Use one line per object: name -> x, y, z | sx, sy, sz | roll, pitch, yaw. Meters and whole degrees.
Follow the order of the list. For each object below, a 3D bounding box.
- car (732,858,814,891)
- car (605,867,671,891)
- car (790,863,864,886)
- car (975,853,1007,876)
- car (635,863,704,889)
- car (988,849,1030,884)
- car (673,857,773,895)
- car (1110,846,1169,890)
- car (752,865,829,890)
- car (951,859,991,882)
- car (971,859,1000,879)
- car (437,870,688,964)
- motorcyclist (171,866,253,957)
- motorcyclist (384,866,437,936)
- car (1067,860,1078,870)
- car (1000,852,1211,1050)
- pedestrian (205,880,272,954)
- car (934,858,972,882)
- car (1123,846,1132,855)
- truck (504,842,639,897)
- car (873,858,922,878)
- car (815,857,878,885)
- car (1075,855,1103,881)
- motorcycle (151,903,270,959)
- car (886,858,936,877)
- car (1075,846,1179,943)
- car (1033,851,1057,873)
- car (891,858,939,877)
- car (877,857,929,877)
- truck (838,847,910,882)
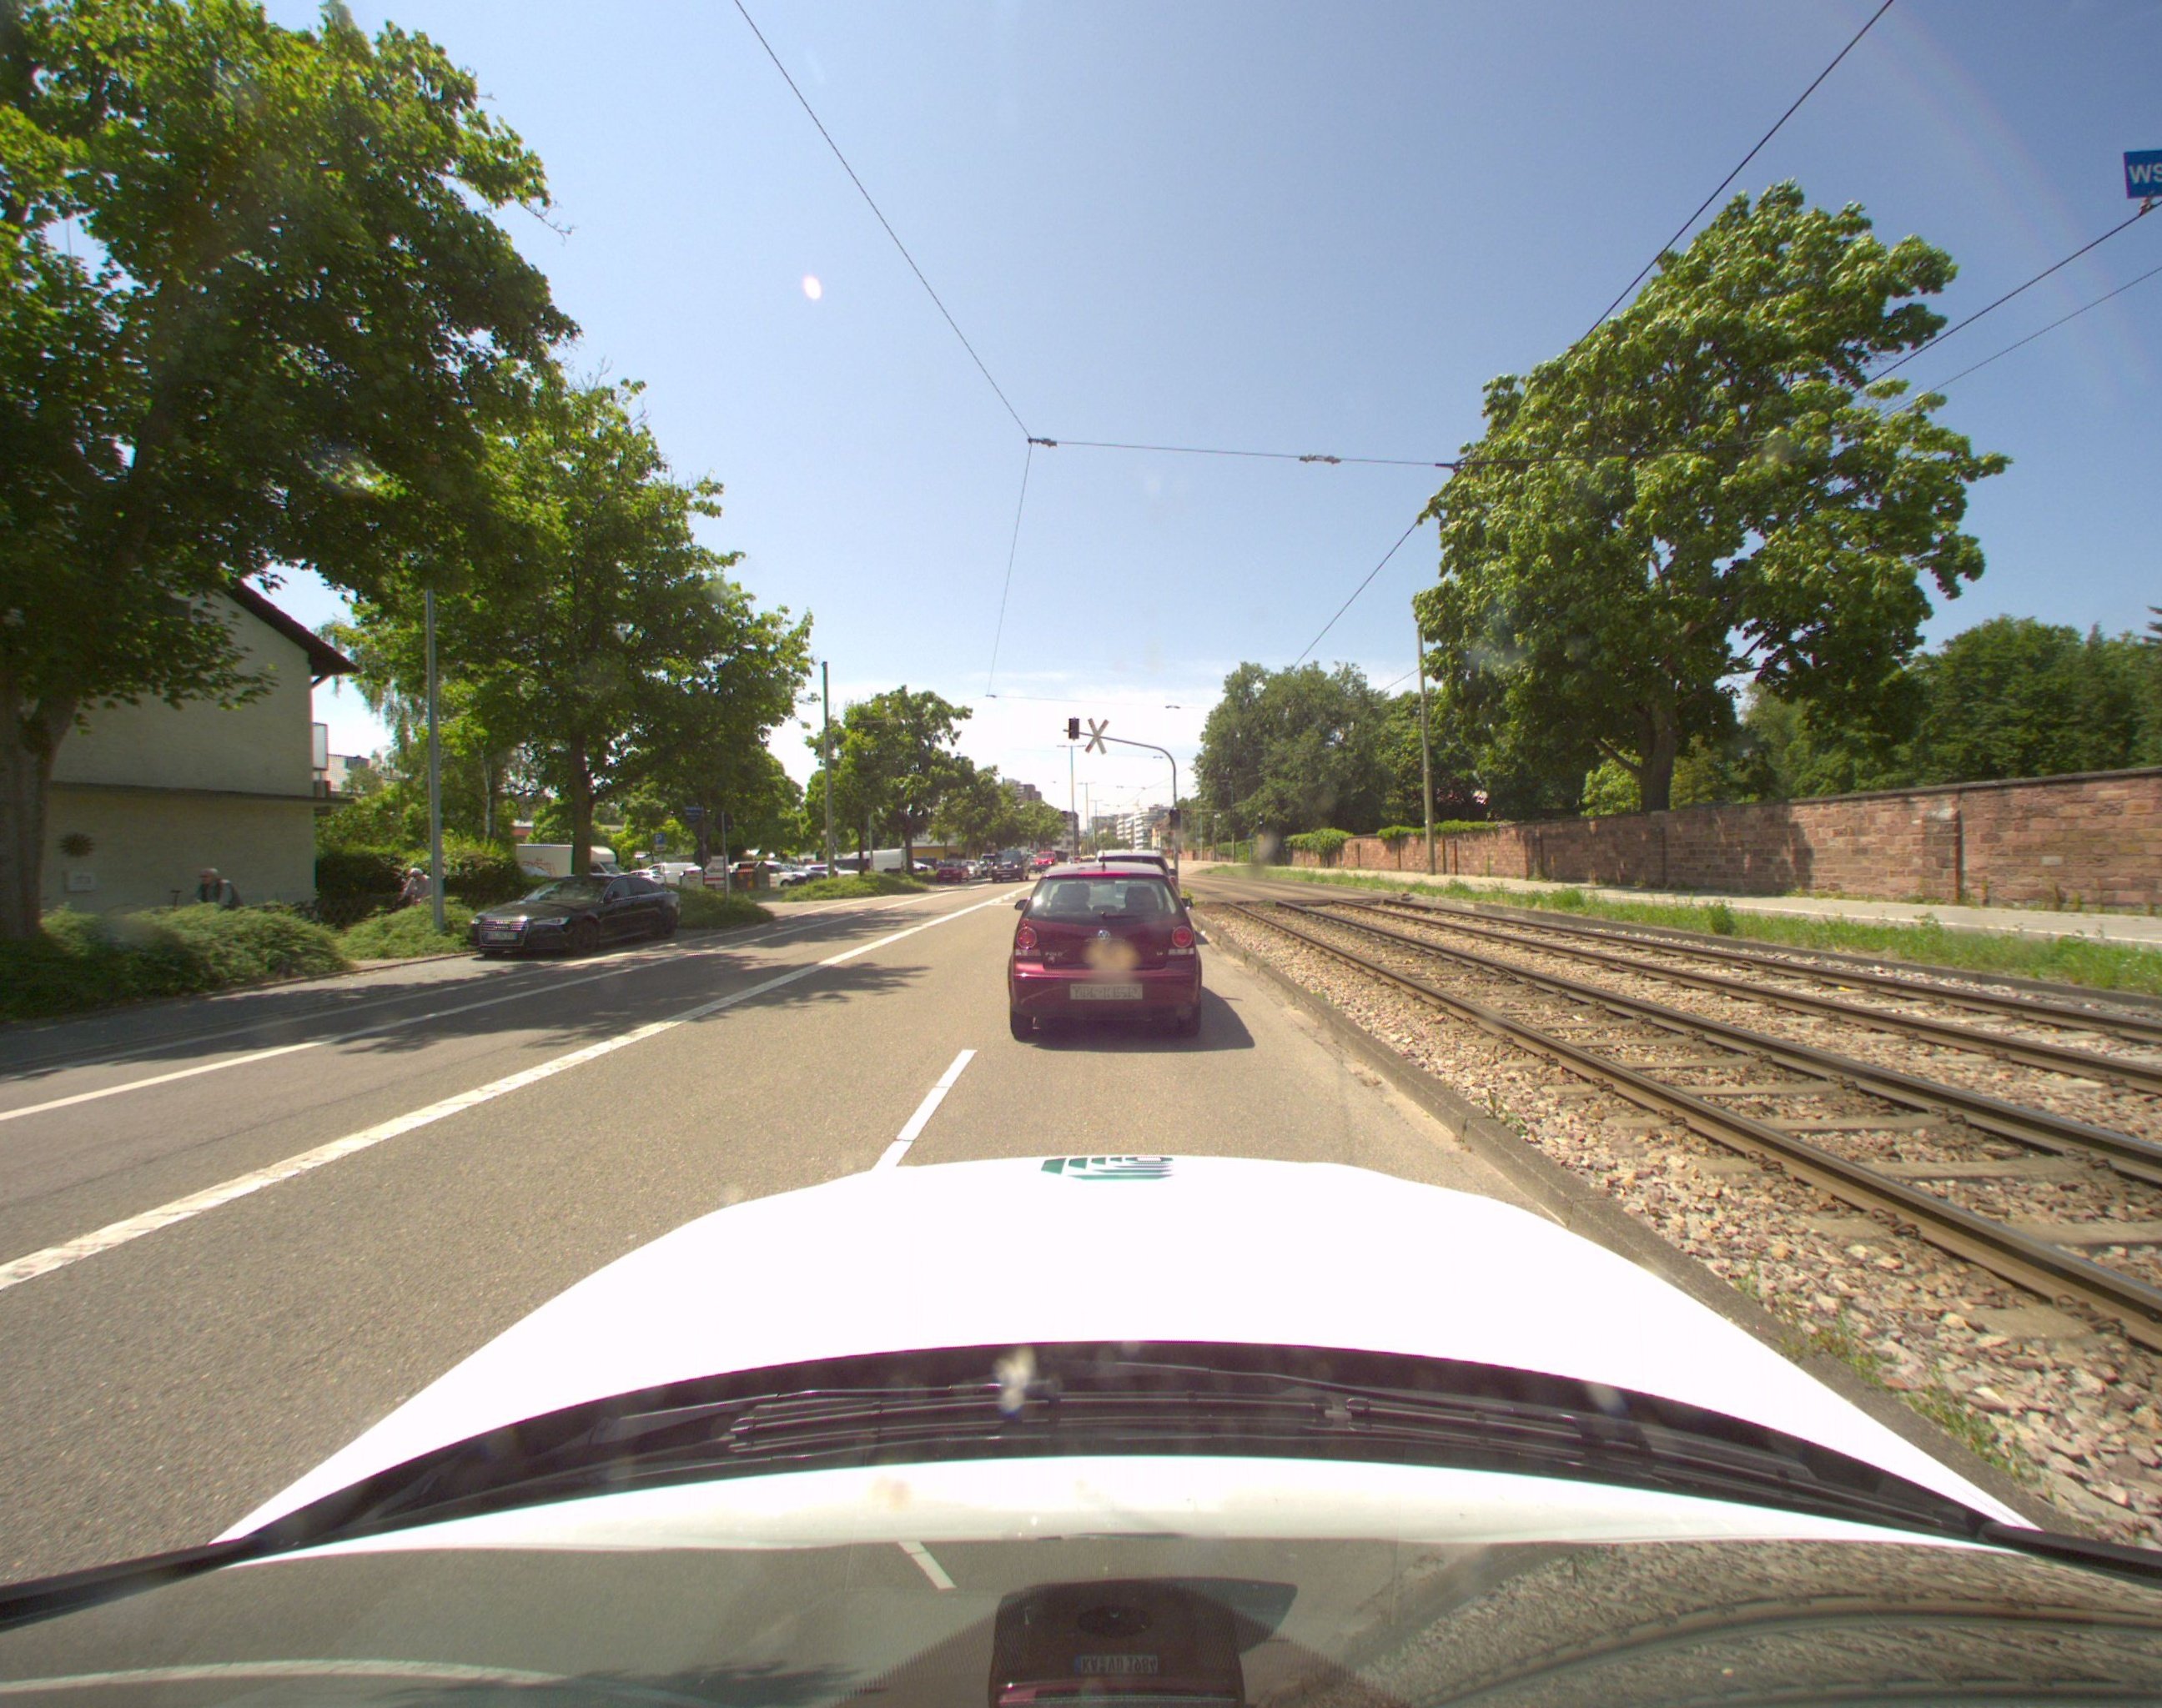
car -> -18.594, 1.217, 49.261 | 4.247, 1.835, 1.675 | -2, 0, 4
car -> -31.773, 1.806, 58.500 | 3.733, 1.576, 1.733 | -1, 0, 1
car -> -18.741, 1.476, 60.172 | 4.745, 1.488, 2.058 | -2, 0, 0
car -> -7.814, 0.891, 71.014 | 1.854, 1.937, 4.811 | 2, 0, 4
car -> -30.739, 1.626, 60.922 | 4.112, 1.820, 1.971 | -1, 0, 1
car -> -4.300, 0.731, 49.275 | 1.911, 1.910, 4.573 | -3, 0, 2
car -> -19.491, 1.166, 44.499 | 4.437, 1.857, 2.059 | -2, 0, -3
car -> 2.418, 0.532, 32.825 | 1.762, 1.630, 4.014 | -1, 0, 13
car -> -18.554, 1.480, 52.148 | 4.185, 1.403, 2.079 | -2, 0, -2
car -> -8.065, 1.161, 59.963 | 1.710, 1.427, 4.779 | -5, 0, 6
car -> -7.598, 1.181, 65.027 | 1.607, 1.484, 3.789 | 2, 0, 4
car -> -9.844, 1.102, 16.047 | 1.888, 1.456, 4.808 | 0, 0, 0
motorcyclist -> -14.960, 0.968, 14.038 | 0.584, 1.503, 0.726 | 1, 0, 3
motorcyclist -> -14.782, 1.019, 17.962 | 0.584, 1.503, 0.663 | 1, 0, 3
car -> -1.181, 1.544, 115.989 | 1.399, 1.440, 3.842 | 2, 0, 2
car -> 0.246, 0.742, 8.227 | 1.603, 1.498, 4.002 | 0, 0, 2
pedestrian -> -17.774, 1.317, 17.186 | 0.789, 1.510, 0.610 | -2, 0, 8
car -> -8.396, 1.043, 53.629 | 1.664, 1.546, 3.731 | 0, -1, 4
car -> 11.517, -0.853, 202.287 | 1.914, 1.910, 4.566 | -2, 0, -3
truck -> -31.709, 0.952, 50.842 | 6.954, 3.227, 2.150 | -1, 0, 0
car -> -17.835, 1.377, 79.254 | 4.195, 1.765, 1.857 | -2, 0, 0
car -> -18.041, 1.312, 62.818 | 4.195, 1.995, 1.857 | -2, 0, 0
car -> 0.471, 0.763, 47.477 | 1.545, 1.448, 3.413 | 0, 0, 2
motorcycle -> -14.975, 1.308, 14.054 | 0.524, 0.825, 1.372 | 1, 0, 3
car -> -17.565, 1.367, 84.084 | 4.702, 1.813, 1.797 | -2, 0, 0
car -> 0.862, 0.702, 16.117 | 1.788, 1.683, 4.002 | 0, 0, 2
car -> -3.342, 0.751, 76.314 | 1.892, 1.926, 4.820 | -3, 0, 0
car -> -17.649, 1.392, 86.644 | 4.702, 1.813, 1.797 | -2, 0, 0
car -> -17.770, 1.336, 81.541 | 4.702, 1.813, 1.797 | -2, 0, 0
truck -> -17.924, 0.903, 70.709 | 5.555, 2.759, 2.434 | -2, 0, 3
